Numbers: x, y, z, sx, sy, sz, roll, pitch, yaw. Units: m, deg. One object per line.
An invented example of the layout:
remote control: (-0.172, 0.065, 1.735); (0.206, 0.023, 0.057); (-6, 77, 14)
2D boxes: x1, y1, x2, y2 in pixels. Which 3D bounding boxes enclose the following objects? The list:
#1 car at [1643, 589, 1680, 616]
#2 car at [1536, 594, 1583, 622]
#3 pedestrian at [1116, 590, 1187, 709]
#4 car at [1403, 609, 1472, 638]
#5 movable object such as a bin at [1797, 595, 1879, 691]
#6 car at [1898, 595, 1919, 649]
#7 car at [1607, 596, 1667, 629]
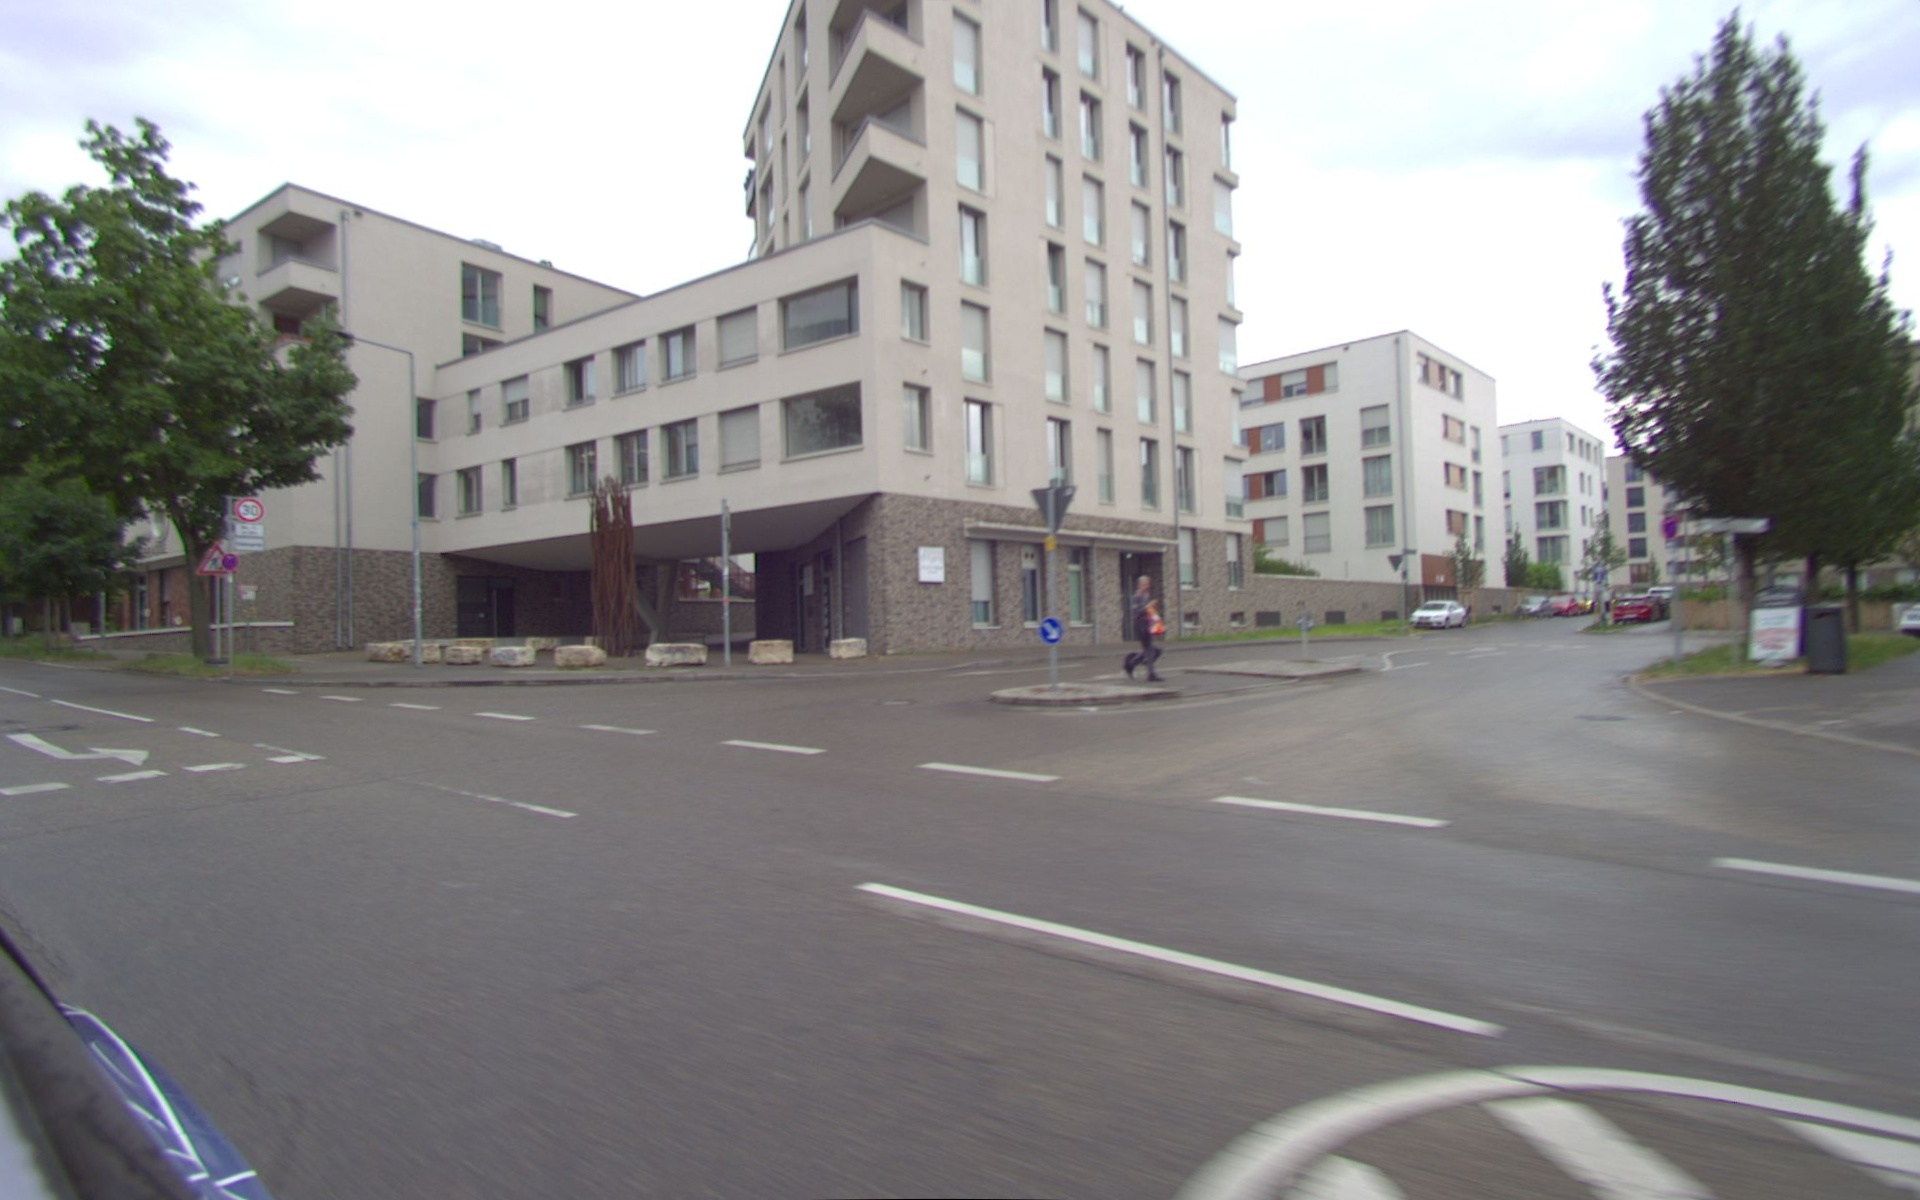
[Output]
car: (49.675, 0.190, 71.751); (1.995, 1.763, 3.953); (-4, -2, 34)
car: (41.733, 0.539, 70.408); (2.000, 1.763, 3.944); (-4, -2, 42)
pedestrian: (3.395, 0.858, 17.895); (1.090, 2.029, 1.053); (-2, -1, 16)
car: (24.934, 1.214, 52.764); (2.001, 1.312, 4.090); (-4, -1, 44)
movable object such as a bin: (13.002, 0.628, 15.016); (0.821, 1.373, 0.708); (-4, -2, 39)
car: (32.384, 0.607, 31.188); (4.758, 1.673, 2.062); (-2, -1, 3)
car: (35.171, 0.646, 52.547); (2.000, 1.494, 3.944); (-4, -1, 42)
